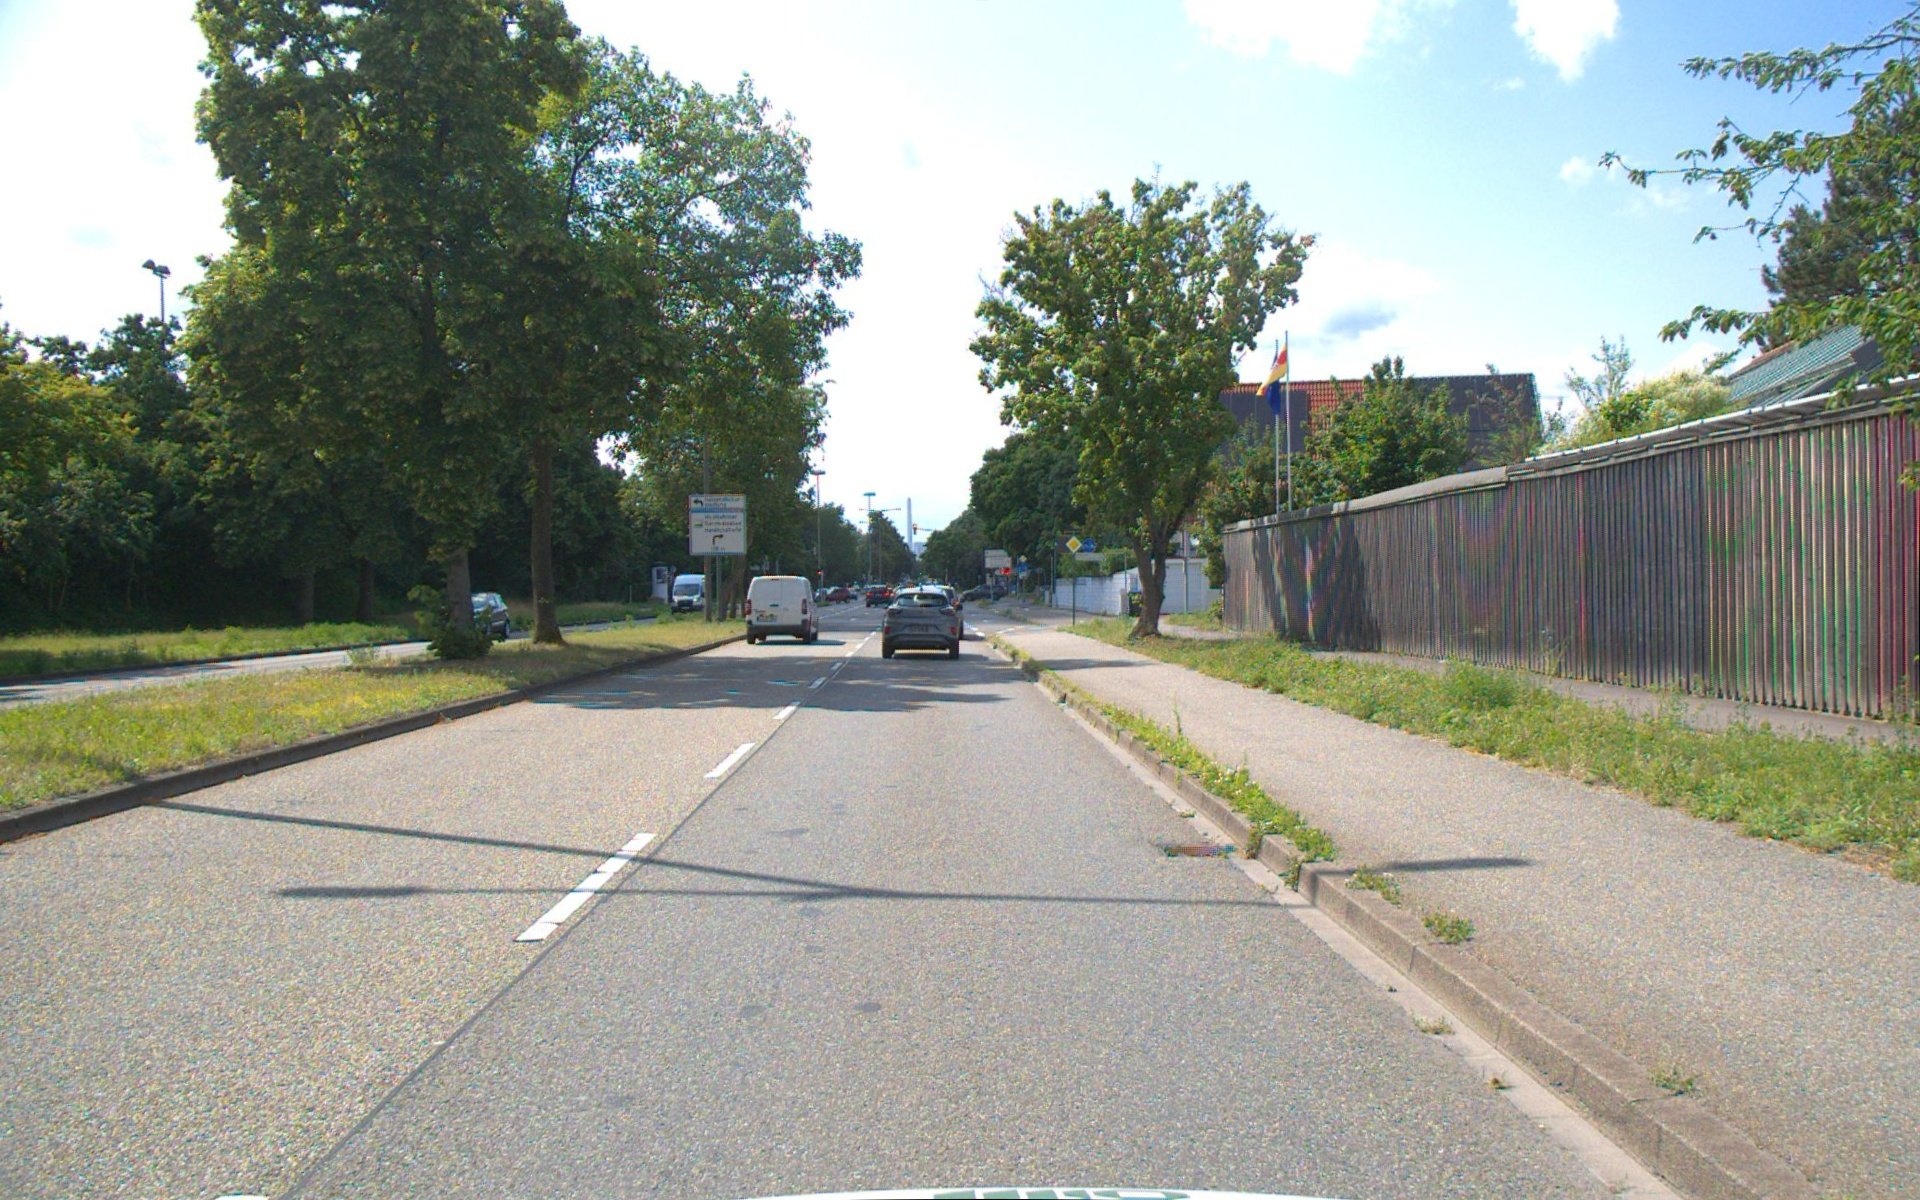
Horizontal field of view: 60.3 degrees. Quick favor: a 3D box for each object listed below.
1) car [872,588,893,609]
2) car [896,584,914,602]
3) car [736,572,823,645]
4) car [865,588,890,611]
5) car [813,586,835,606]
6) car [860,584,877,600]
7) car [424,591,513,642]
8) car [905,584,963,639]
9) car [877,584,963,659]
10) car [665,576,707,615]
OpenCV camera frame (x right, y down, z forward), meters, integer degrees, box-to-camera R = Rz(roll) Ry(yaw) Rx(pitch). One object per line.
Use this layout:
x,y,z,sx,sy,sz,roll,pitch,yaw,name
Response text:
-6.799,-0.147,145.863,1.743,1.798,4.168,-1,0,-1,car
-5.731,-0.711,172.635,1.743,1.798,3.999,-1,0,-1,car
-5.061,0.202,46.846,2.024,1.945,4.645,0,1,-1,car
-6.753,-0.045,135.621,1.901,1.798,4.145,-1,0,-1,car
-12.719,-0.378,154.438,1.743,1.798,4.124,-1,0,-1,car
-10.461,-0.943,188.958,1.743,1.798,4.150,-1,0,-1,car
-17.302,0.551,58.439,1.953,1.735,4.192,-1,0,-1,car
-0.822,0.332,52.434,1.743,1.672,4.196,-1,0,-1,car
-0.894,0.449,37.886,1.837,1.616,4.184,-1,0,-1,car
-18.288,-0.310,110.733,2.004,2.474,5.249,-1,0,-1,car
